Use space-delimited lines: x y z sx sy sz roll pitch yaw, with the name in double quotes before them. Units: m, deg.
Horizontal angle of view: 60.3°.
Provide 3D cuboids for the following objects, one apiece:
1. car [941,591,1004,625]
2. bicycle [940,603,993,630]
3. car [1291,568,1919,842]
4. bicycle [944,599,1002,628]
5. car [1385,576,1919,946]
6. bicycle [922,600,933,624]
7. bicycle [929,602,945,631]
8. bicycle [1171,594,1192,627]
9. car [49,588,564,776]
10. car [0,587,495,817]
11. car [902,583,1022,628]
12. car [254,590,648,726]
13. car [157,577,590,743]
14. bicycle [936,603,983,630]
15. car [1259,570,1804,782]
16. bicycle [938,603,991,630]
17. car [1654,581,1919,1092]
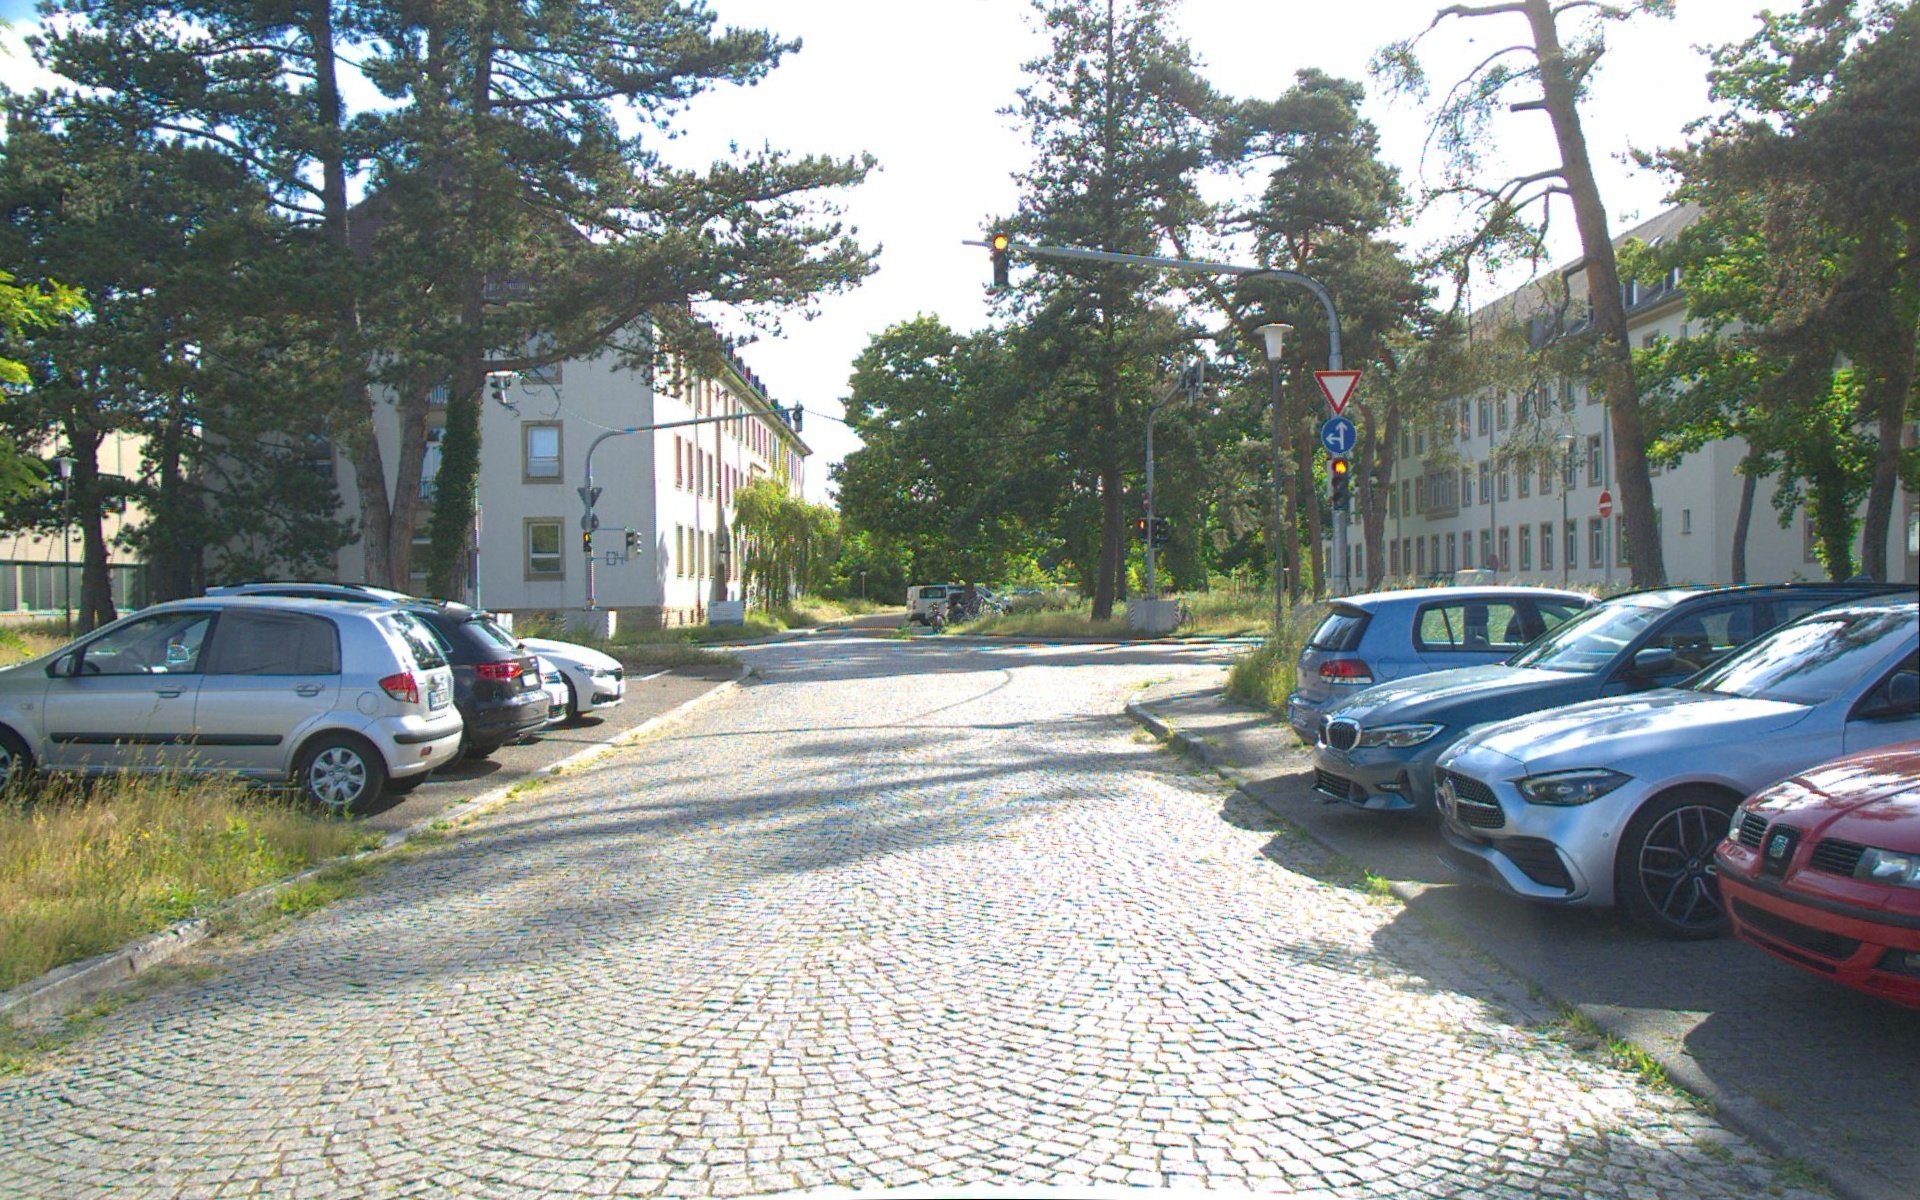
"car" 0.571 0.372 76.663 2.727 1.492 1.669 1 -1 -5
"bicycle" 0.253 0.636 63.895 1.967 1.028 0.631 1 -1 -8
"car" 4.535 0.603 10.598 4.466 1.440 1.636 -2 1 0
"bicycle" 0.488 0.512 62.194 2.070 1.028 0.620 1 -1 -8
"car" 4.441 0.633 7.881 4.341 1.440 1.781 -2 1 0
"bicycle" -1.419 0.521 71.835 0.409 1.028 1.483 1 0 0
"bicycle" -0.826 0.582 58.548 0.458 1.028 1.584 1 0 -4
"bicycle" 6.726 0.318 50.184 0.294 0.977 1.584 1 0 -4
"car" -5.727 0.693 14.904 3.908 1.506 1.802 1 1 -4
"car" -5.508 0.709 12.260 3.672 1.513 1.645 1 0 -4
"car" 0.095 0.257 80.203 5.437 2.049 1.989 1 -1 -19
"car" -6.100 0.682 20.232 4.248 1.494 1.829 1 1 -4
"car" -6.188 0.608 17.857 3.999 1.621 1.884 1 1 -4
"bicycle" -0.018 0.642 65.647 1.803 1.028 0.635 1 -1 -8
"car" 4.490 0.566 13.378 3.803 1.440 1.636 -2 1 0
"bicycle" 0.168 0.640 64.777 1.990 1.028 0.626 1 -1 -8
"car" 4.796 0.630 5.749 4.043 1.474 1.636 -2 1 0
